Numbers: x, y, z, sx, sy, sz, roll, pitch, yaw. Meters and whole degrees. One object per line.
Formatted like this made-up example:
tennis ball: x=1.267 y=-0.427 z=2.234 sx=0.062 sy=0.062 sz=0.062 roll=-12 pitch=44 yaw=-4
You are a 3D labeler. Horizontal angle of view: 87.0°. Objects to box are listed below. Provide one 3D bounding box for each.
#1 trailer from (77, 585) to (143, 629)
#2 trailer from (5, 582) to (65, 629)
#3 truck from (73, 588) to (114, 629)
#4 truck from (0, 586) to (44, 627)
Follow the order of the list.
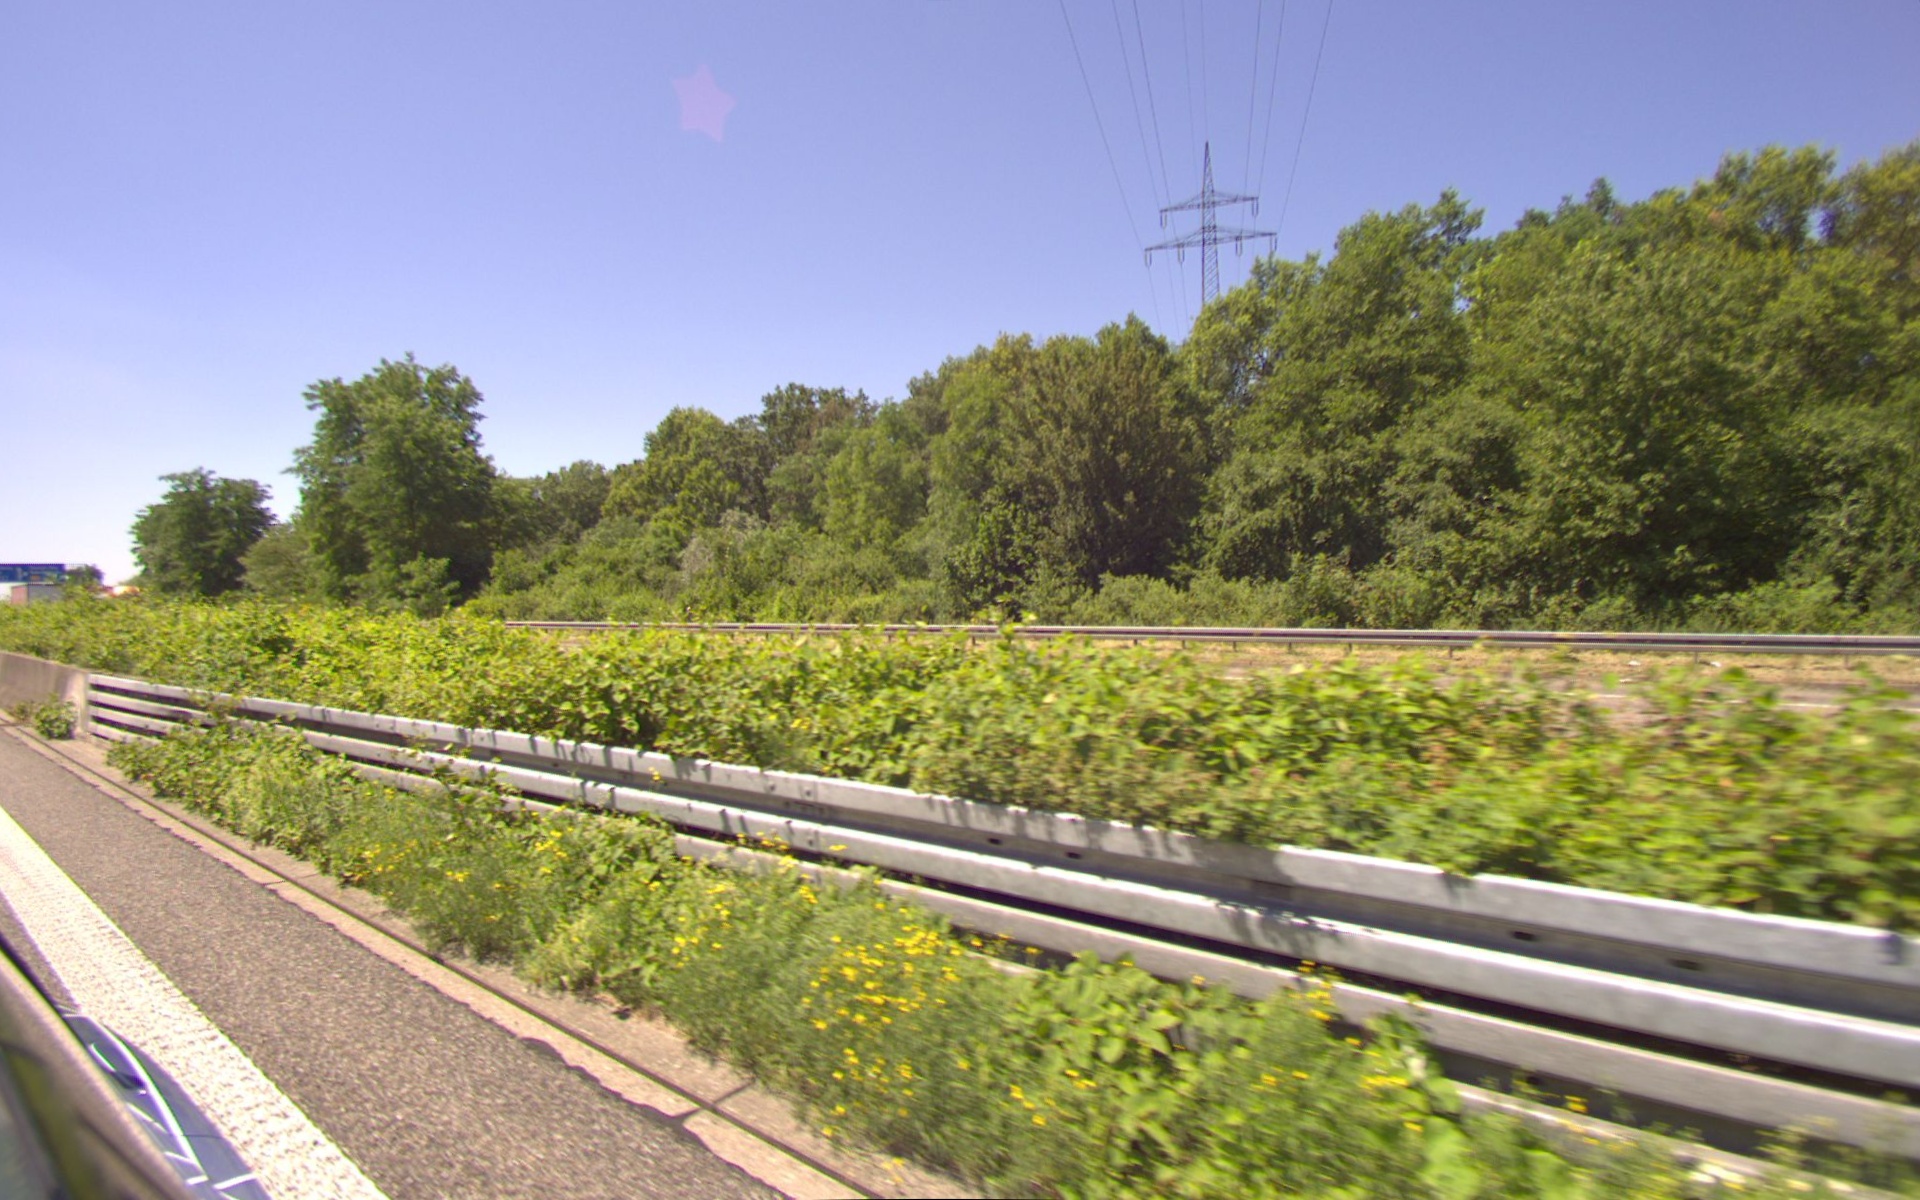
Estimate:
trailer: x=-73.647 y=0.661 z=87.520 sx=14.214 sy=3.623 sz=2.347 roll=-1 pitch=-1 yaw=42
trailer: x=-82.992 y=0.579 z=90.644 sx=14.393 sy=3.965 sz=2.440 roll=-1 pitch=-1 yaw=41
truck: x=-79.064 y=0.764 z=92.316 sx=4.162 sy=3.629 sz=2.332 roll=-1 pitch=-1 yaw=41
truck: x=-88.711 y=0.648 z=95.640 sx=5.726 sy=3.817 sz=2.440 roll=-1 pitch=-1 yaw=41
